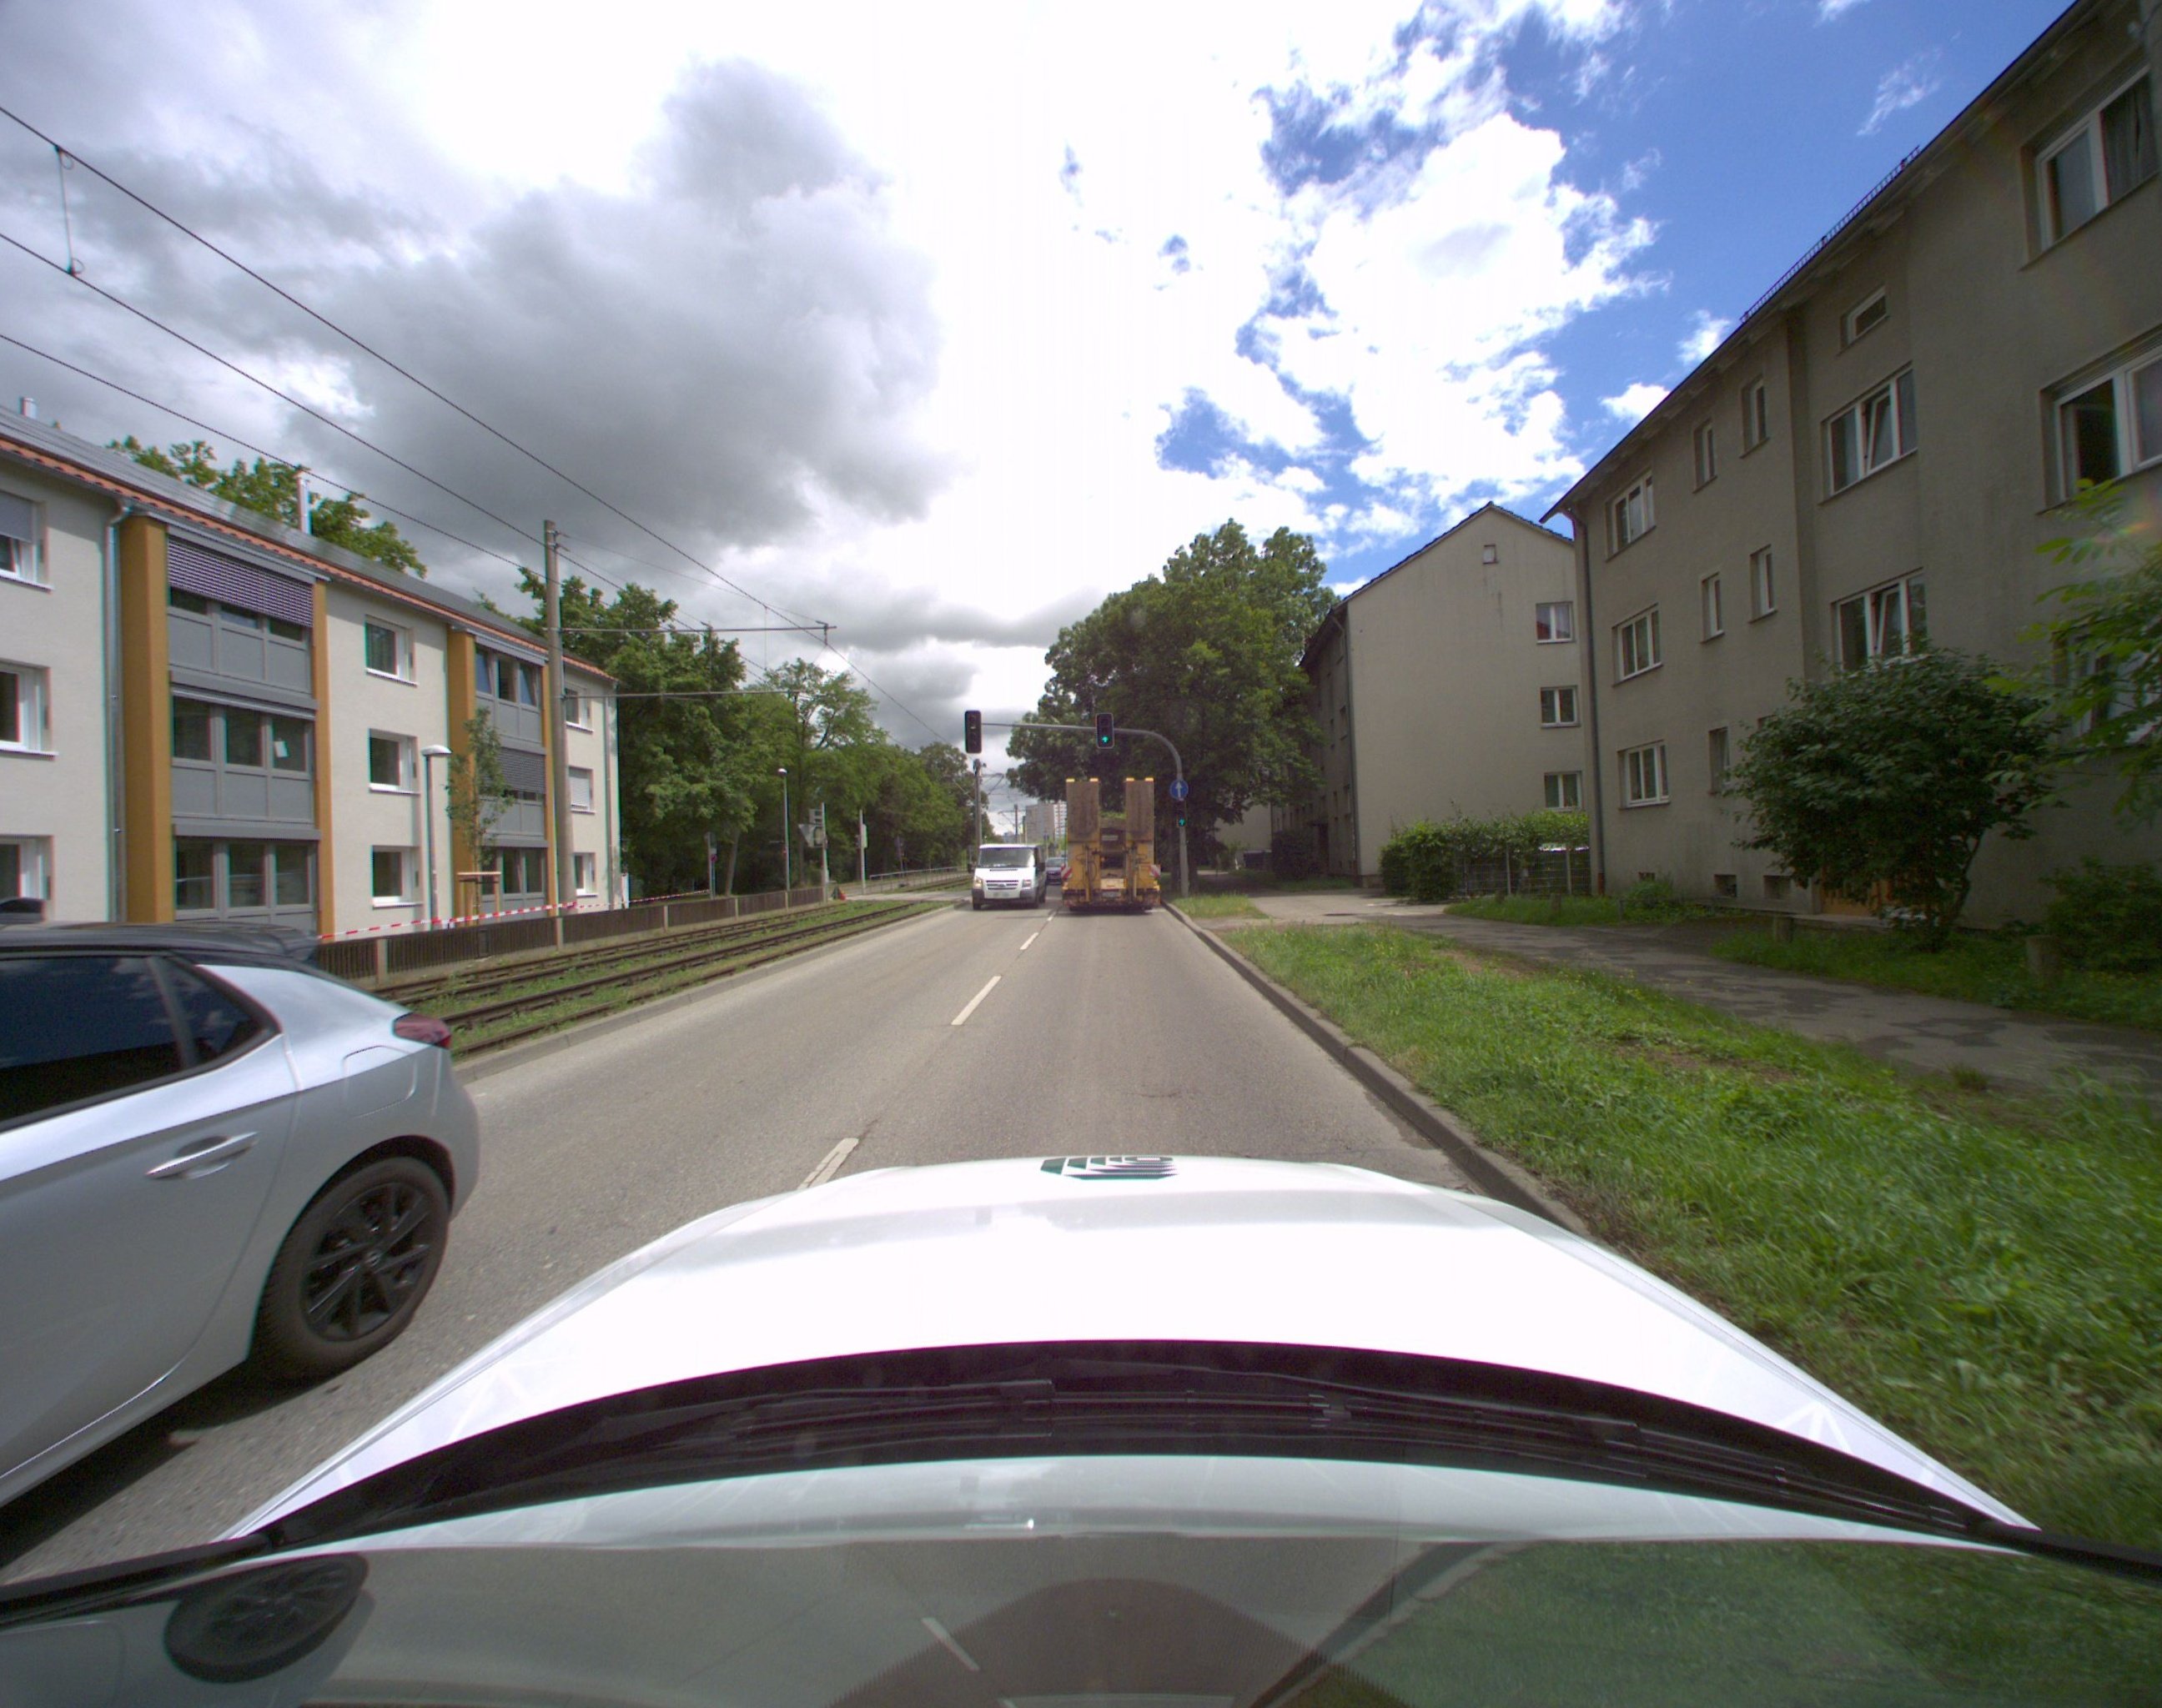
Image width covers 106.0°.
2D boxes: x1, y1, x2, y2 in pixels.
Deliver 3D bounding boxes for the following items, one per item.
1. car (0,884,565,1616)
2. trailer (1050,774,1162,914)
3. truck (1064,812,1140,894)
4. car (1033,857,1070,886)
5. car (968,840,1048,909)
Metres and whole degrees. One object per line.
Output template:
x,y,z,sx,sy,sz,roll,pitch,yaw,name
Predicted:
-3.076,0.854,1.393,1.723,1.417,3.985,-1,0,2,car
0.704,-0.250,26.289,2.813,3.524,11.052,-1,0,1,trailer
0.909,-0.048,35.648,2.907,3.167,7.682,-1,0,1,truck
-1.576,0.909,44.956,1.673,1.450,4.075,-2,0,2,car
-2.187,0.597,25.511,1.935,1.940,4.319,-1,0,2,car
